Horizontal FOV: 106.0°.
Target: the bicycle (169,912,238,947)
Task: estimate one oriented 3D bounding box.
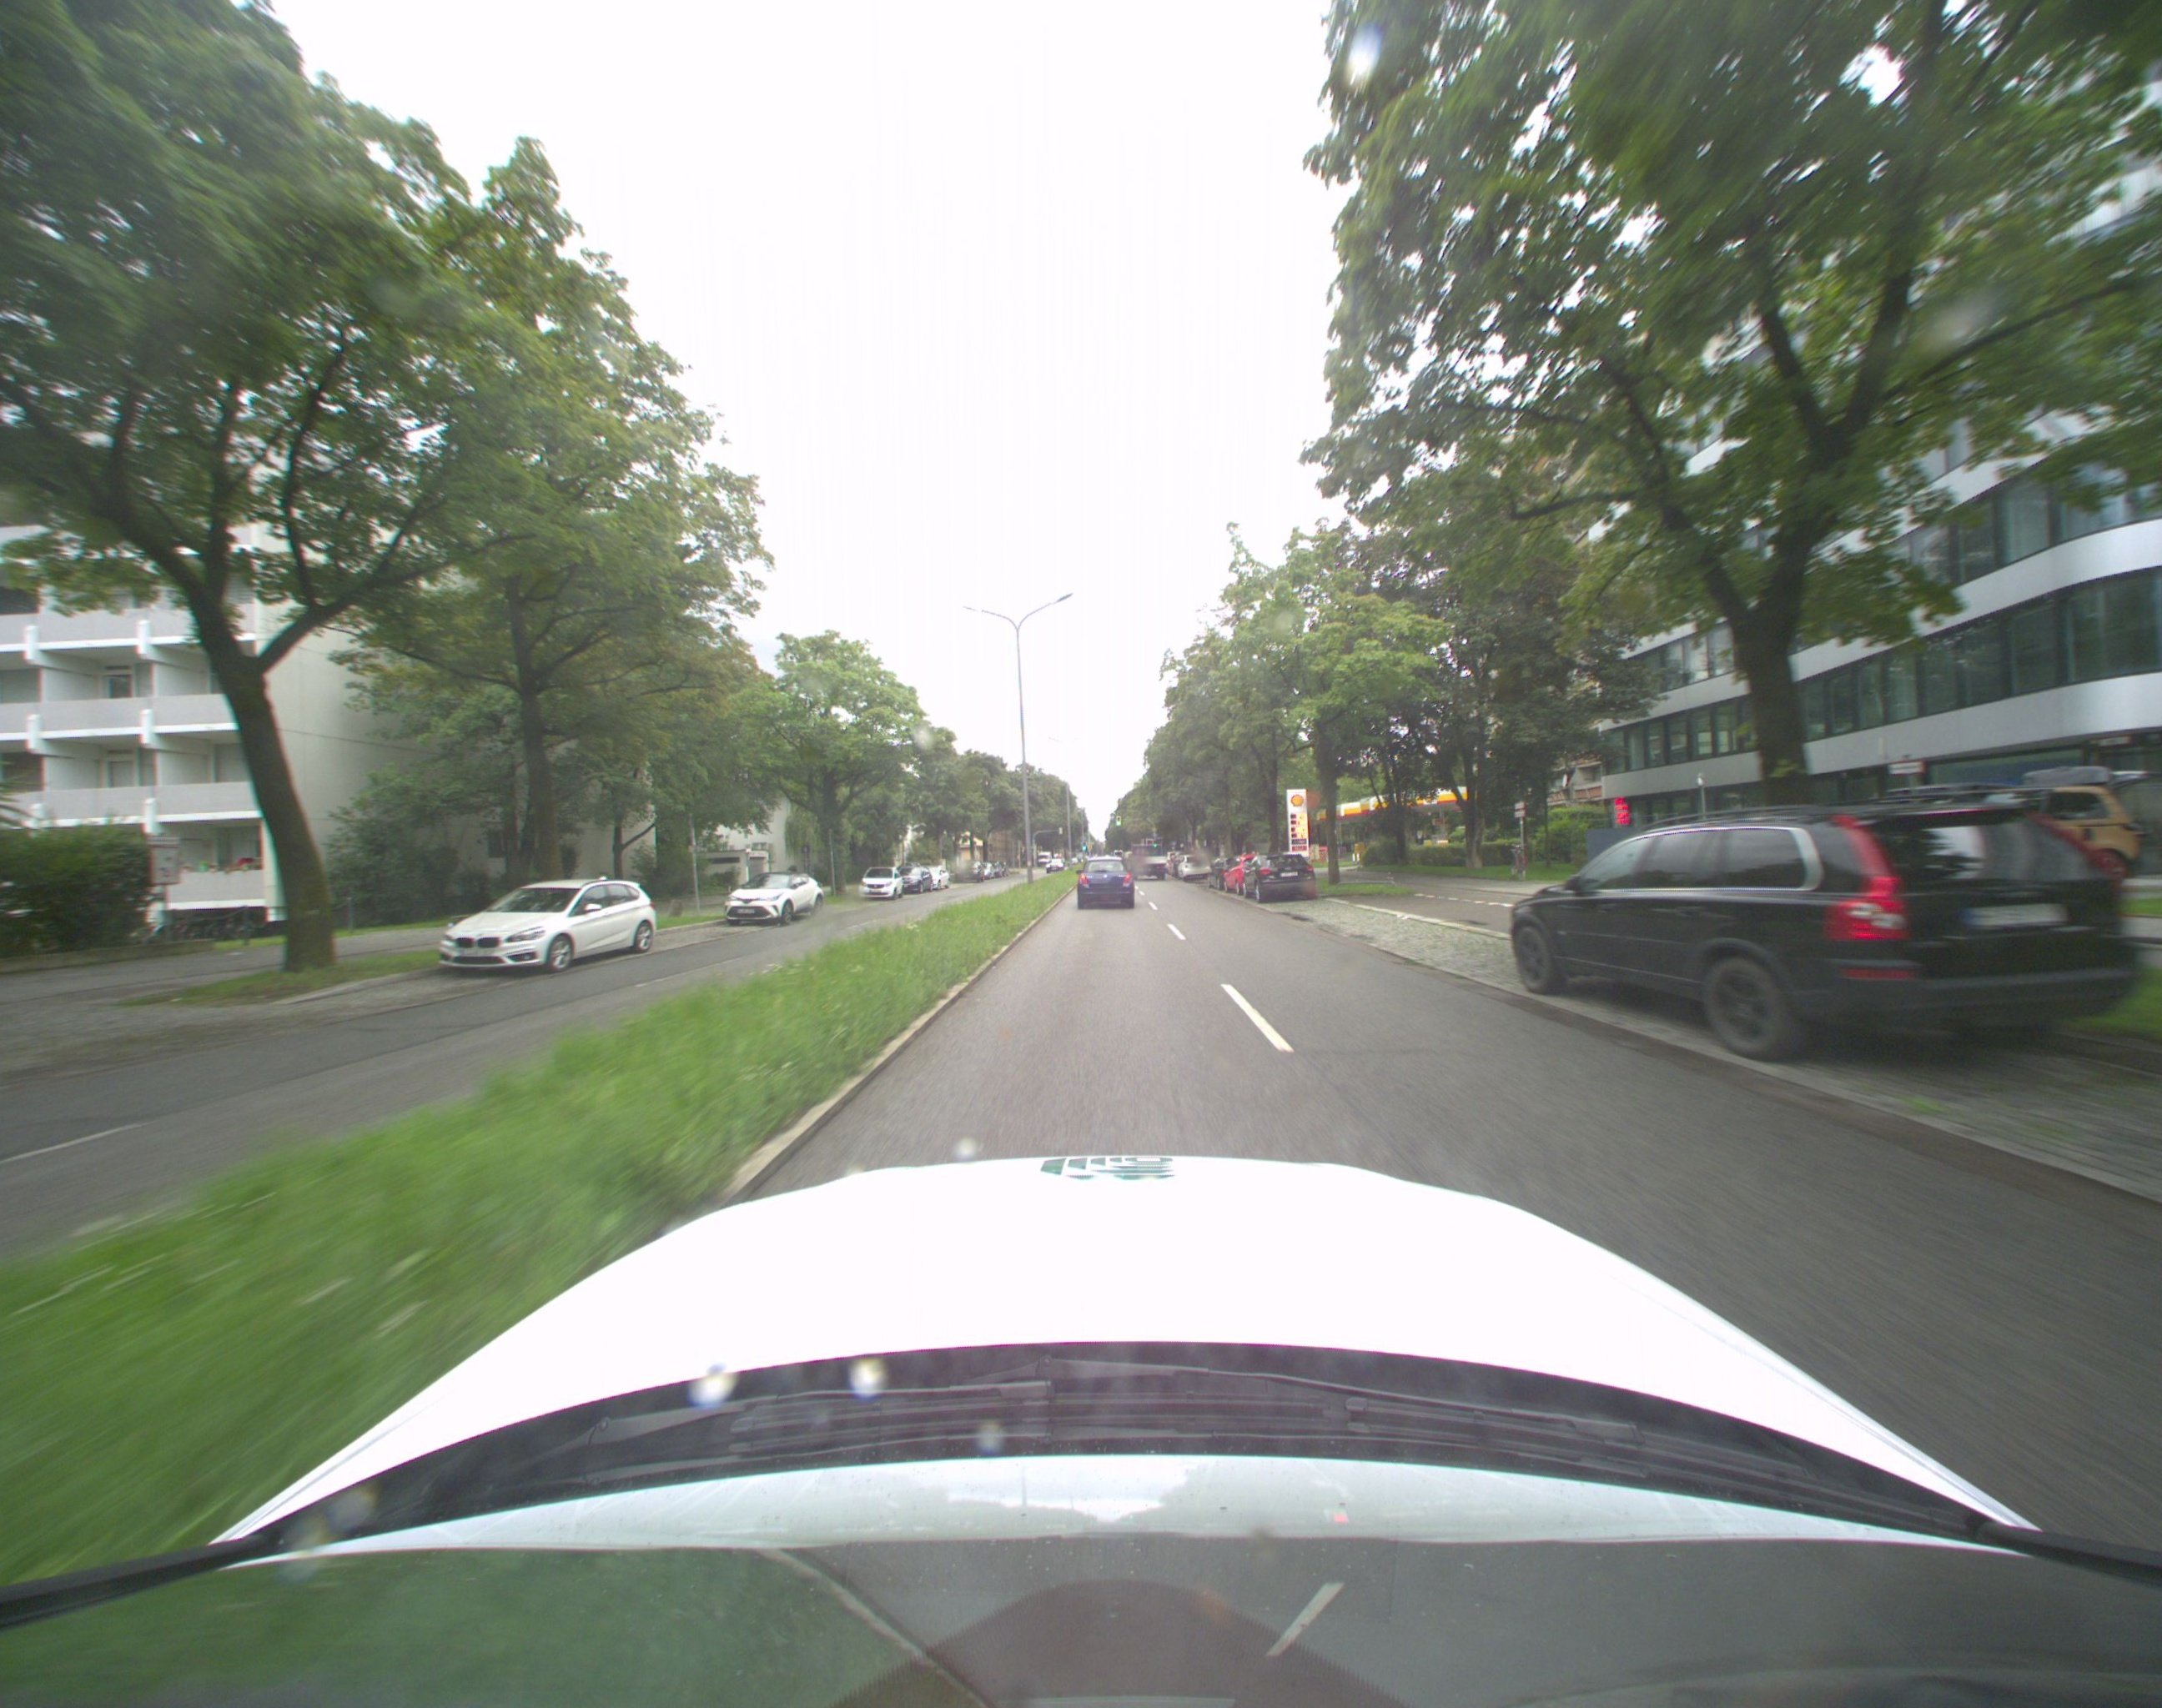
[{"bbox_3d":[-26.635,2.276,24.746,0.456,0.900,1.451,-3,0,2],"label":"bicycle"}]

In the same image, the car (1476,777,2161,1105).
[{"bbox_3d":[5.567,0.494,7.133,1.886,1.800,4.863,-3,0,1],"label":"car"}]

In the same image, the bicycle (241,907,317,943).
[{"bbox_3d":[-24.461,2.148,24.882,0.475,0.900,1.767,-3,0,2],"label":"bicycle"}]

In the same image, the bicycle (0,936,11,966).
[{"bbox_3d":[-33.505,2.995,24.580,0.456,0.900,1.451,-3,0,2],"label":"bicycle"}]

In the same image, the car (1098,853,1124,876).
[{"bbox_3d":[2.179,0.735,59.053,1.792,1.499,3.662,-3,0,2],"label":"car"}]

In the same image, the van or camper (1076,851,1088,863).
[{"bbox_3d":[0.160,0.550,156.982,2.016,2.260,6.022,-3,0,1],"label":"van or camper"}]

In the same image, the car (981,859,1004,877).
[{"bbox_3d":[-8.067,1.245,74.604,1.661,1.562,4.298,-3,0,-1],"label":"car"}]

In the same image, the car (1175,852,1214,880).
[{"bbox_3d":[6.833,0.684,49.545,1.754,1.453,4.634,-4,0,2],"label":"car"}]

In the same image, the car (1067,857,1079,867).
[{"bbox_3d":[-1.249,1.304,131.536,1.731,1.442,4.104,-3,0,1],"label":"car"}]

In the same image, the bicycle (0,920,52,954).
[{"bbox_3d":[-32.196,2.512,24.537,0.456,0.900,1.451,-3,0,2],"label":"bicycle"}]

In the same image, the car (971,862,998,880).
[{"bbox_3d":[-8.240,1.400,69.577,1.660,1.445,4.376,0,0,1],"label":"car"}]

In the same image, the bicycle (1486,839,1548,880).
[{"bbox_3d":[13.679,0.163,25.650,0.745,1.183,2.247,-3,0,2],"label":"bicycle"}]

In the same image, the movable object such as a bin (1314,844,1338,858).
[{"bbox_3d":[27.172,-0.325,90.320,2.053,1.486,1.838,-3,0,2],"label":"movable object such as a bin"}]

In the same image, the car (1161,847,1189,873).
[{"bbox_3d":[7.477,0.447,65.213,1.754,1.830,4.530,-4,0,2],"label":"car"}]

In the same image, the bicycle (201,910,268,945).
[{"bbox_3d":[-25.627,2.219,24.684,0.456,0.900,1.451,-3,0,2],"label":"bicycle"}]

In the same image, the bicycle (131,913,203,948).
[{"bbox_3d":[-27.573,2.307,24.591,0.456,0.900,1.451,-3,0,2],"label":"bicycle"}]

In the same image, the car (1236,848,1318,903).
[{"bbox_3d":[6.258,0.637,26.410,1.772,1.511,4.289,-4,0,4],"label":"car"}]

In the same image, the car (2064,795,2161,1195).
[{"bbox_3d":[5.257,0.553,1.260,1.805,1.675,4.804,-3,0,4],"label":"car"}]

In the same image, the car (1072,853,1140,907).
[{"bbox_3d":[0.695,0.740,24.921,1.891,1.499,3.658,-1,0,-1],"label":"car"}]

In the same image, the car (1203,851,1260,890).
[{"bbox_3d":[6.451,0.681,35.297,1.669,1.453,4.584,-4,0,2],"label":"car"}]

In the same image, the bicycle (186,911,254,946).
[{"bbox_3d":[-26.117,2.240,24.732,0.456,0.900,1.451,-3,0,2],"label":"bicycle"}]

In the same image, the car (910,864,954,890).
[{"bbox_3d":[-8.926,1.361,49.150,1.668,1.443,4.322,0,0,2],"label":"car"}]

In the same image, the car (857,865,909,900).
[{"bbox_3d":[-9.342,1.326,38.629,1.685,1.565,3.079,0,0,0],"label":"car"}]

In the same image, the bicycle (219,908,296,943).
[{"bbox_3d":[-25.009,2.151,24.786,0.475,0.900,1.767,-3,0,2],"label":"bicycle"}]

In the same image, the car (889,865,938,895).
[{"bbox_3d":[-9.065,1.367,44.395,1.668,1.475,4.217,0,0,2],"label":"car"}]

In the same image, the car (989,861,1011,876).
[{"bbox_3d":[-7.972,1.398,80.161,1.557,1.450,3.841,0,0,4],"label":"car"}]

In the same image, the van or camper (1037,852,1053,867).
[{"bbox_3d":[-6.043,0.881,137.501,2.132,2.476,6.262,-3,0,2],"label":"van or camper"}]

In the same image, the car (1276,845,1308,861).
[{"bbox_3d":[27.975,-0.141,108.024,3.858,1.610,1.937,-7,0,8],"label":"car"}]

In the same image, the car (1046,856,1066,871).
[{"bbox_3d":[-2.552,0.971,83.556,1.732,1.440,4.217,-3,0,2],"label":"car"}]

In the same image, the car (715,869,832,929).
[{"bbox_3d":[-9.532,1.337,25.651,1.825,1.609,4.494,0,0,2],"label":"car"}]

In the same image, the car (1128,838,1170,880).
[{"bbox_3d":[4.156,0.286,50.776,2.408,2.444,5.091,-1,0,3],"label":"car"}]

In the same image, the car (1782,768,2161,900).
[{"bbox_3d":[16.786,-0.362,15.228,5.451,2.083,2.147,-3,0,0],"label":"car"}]

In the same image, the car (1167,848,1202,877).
[{"bbox_3d":[6.930,0.548,55.109,1.754,1.698,5.232,-4,0,2],"label":"car"}]

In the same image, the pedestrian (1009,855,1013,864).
[{"bbox_3d":[-12.725,0.999,147.746,0.626,1.440,0.807,-1,-1,3],"label":"pedestrian"}]

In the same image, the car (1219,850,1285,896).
[{"bbox_3d":[6.388,0.666,30.872,1.669,1.501,4.023,-4,0,2],"label":"car"}]

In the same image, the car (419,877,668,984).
[{"bbox_3d":[-9.979,1.322,15.638,1.751,1.595,4.490,0,0,1],"label":"car"}]

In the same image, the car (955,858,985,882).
[{"bbox_3d":[-8.485,1.210,62.622,1.791,1.763,5.053,0,0,-2],"label":"car"}]
